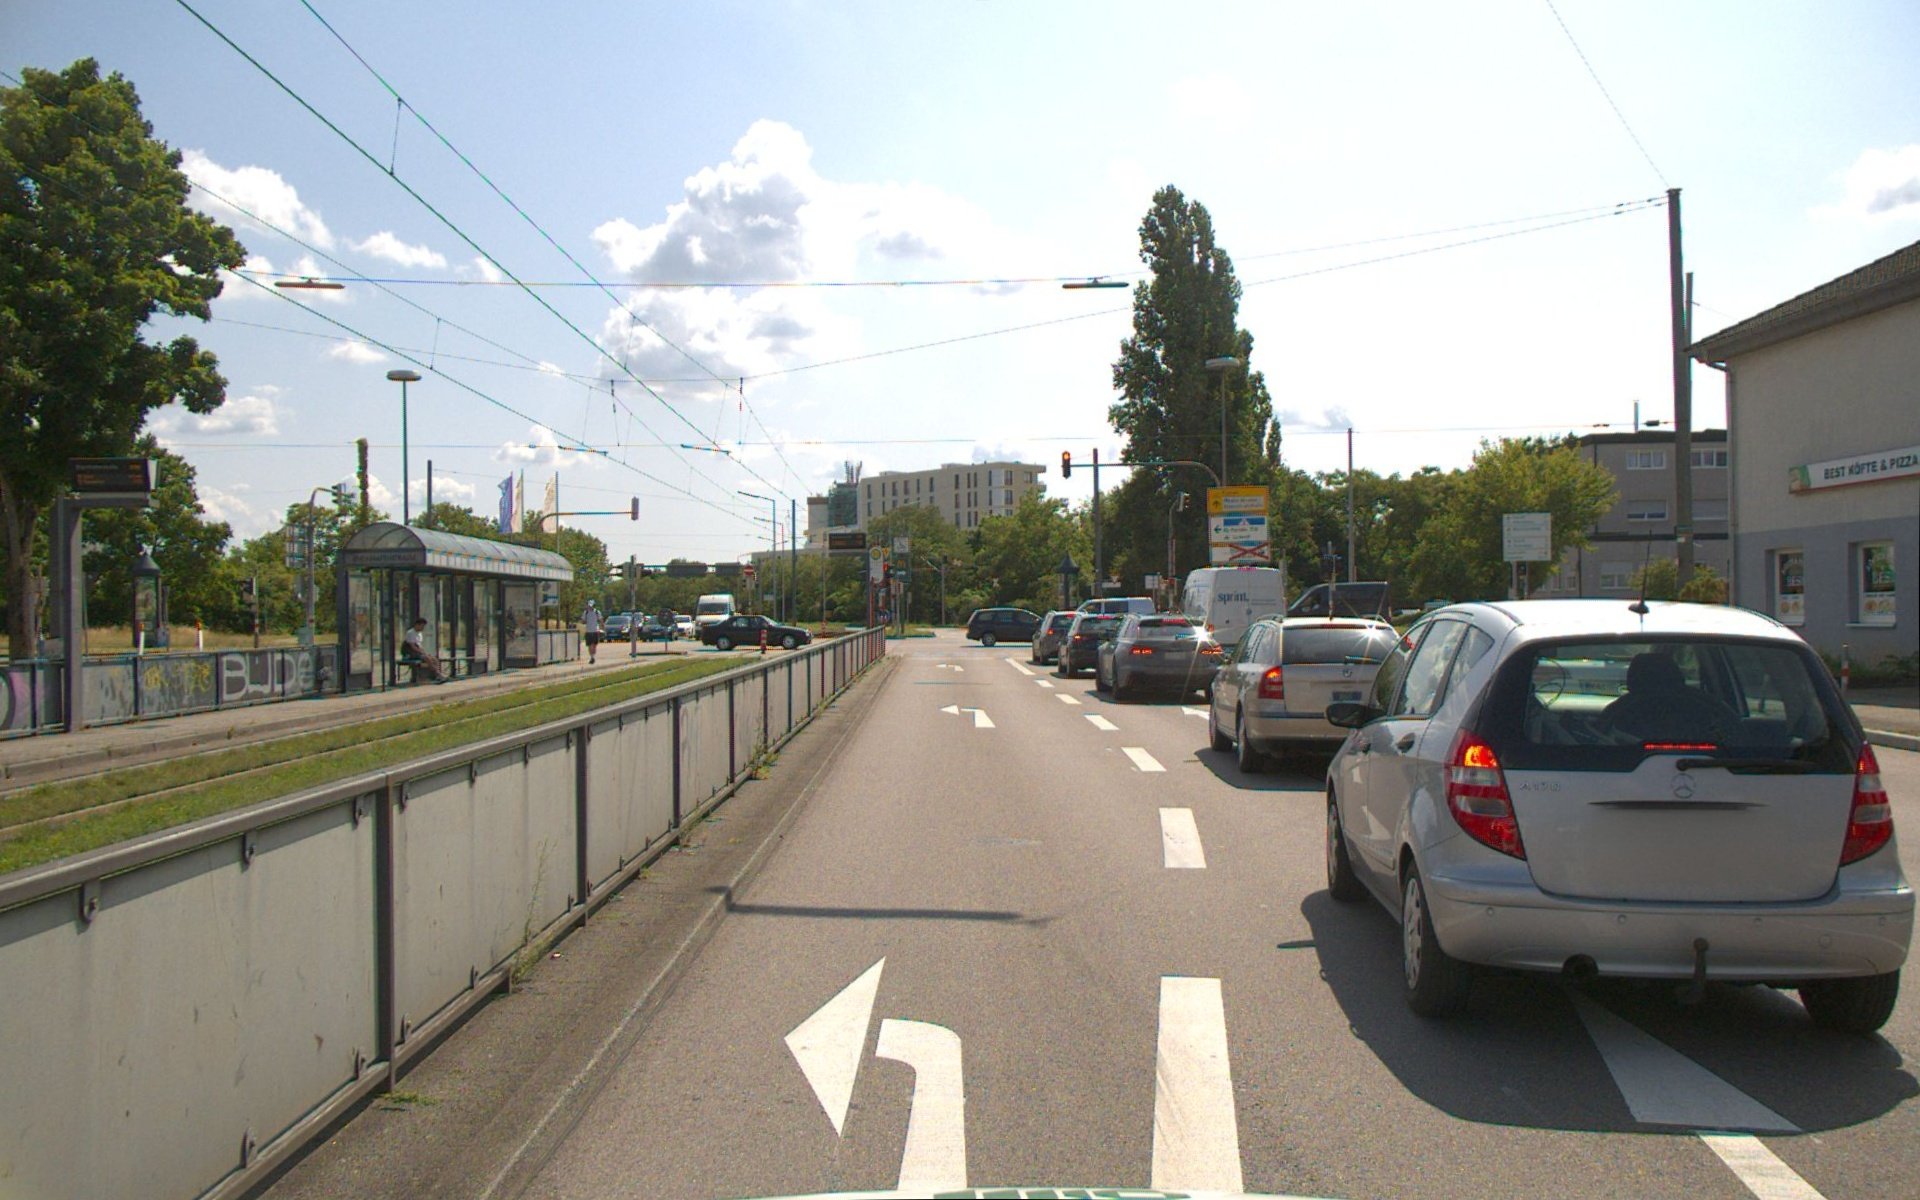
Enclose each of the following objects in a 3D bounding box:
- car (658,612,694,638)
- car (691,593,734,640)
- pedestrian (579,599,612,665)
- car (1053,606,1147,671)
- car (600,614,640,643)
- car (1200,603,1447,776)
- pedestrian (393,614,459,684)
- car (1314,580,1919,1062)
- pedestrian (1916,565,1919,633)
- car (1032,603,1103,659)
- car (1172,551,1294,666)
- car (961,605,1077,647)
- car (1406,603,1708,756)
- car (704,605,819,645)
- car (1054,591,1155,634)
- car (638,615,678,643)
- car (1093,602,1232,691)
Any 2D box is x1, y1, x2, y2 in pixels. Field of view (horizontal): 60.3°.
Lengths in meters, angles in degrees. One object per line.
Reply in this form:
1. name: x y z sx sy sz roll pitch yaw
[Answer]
1. car: -17.748 1.551 103.476 1.767 1.568 4.160 1 -1 -4
2. car: -14.375 0.950 96.326 1.954 2.651 4.875 1 -1 -3
3. pedestrian: -10.213 0.887 46.359 0.791 1.826 0.708 -1 0 -3
4. car: 3.287 0.876 39.401 1.831 1.444 4.099 0 0 -1
5. car: -19.970 1.668 97.201 1.826 1.680 3.996 1 -1 -5
6. car: 3.541 0.791 16.917 1.702 1.518 4.631 0 0 3
7. pedestrian: -10.852 0.989 33.633 1.037 1.400 0.860 0 -1 -1
8. car: 2.745 0.745 7.620 1.749 1.604 4.097 -1 0 6
9. pedestrian: 13.241 0.415 21.865 0.706 1.814 0.703 -3 0 1
10. car: 3.066 0.865 47.871 1.709 1.525 4.378 0 0 -1
11. car: 6.599 0.202 40.561 1.999 2.602 5.230 -1 0 -1
12. car: 2.409 1.051 66.717 4.576 1.576 2.001 -1 0 4
13. car: 6.575 0.797 18.792 1.816 1.518 4.536 0 0 0
14. car: -7.978 0.991 66.695 4.368 1.540 2.000 1 -1 -1
15. car: 6.827 0.599 78.326 4.581 1.970 2.000 0 0 -1
16. car: -17.368 1.633 95.209 1.859 1.568 3.725 1 -1 -4
17. car: 3.561 0.779 29.891 1.849 1.473 4.827 0 0 -1
